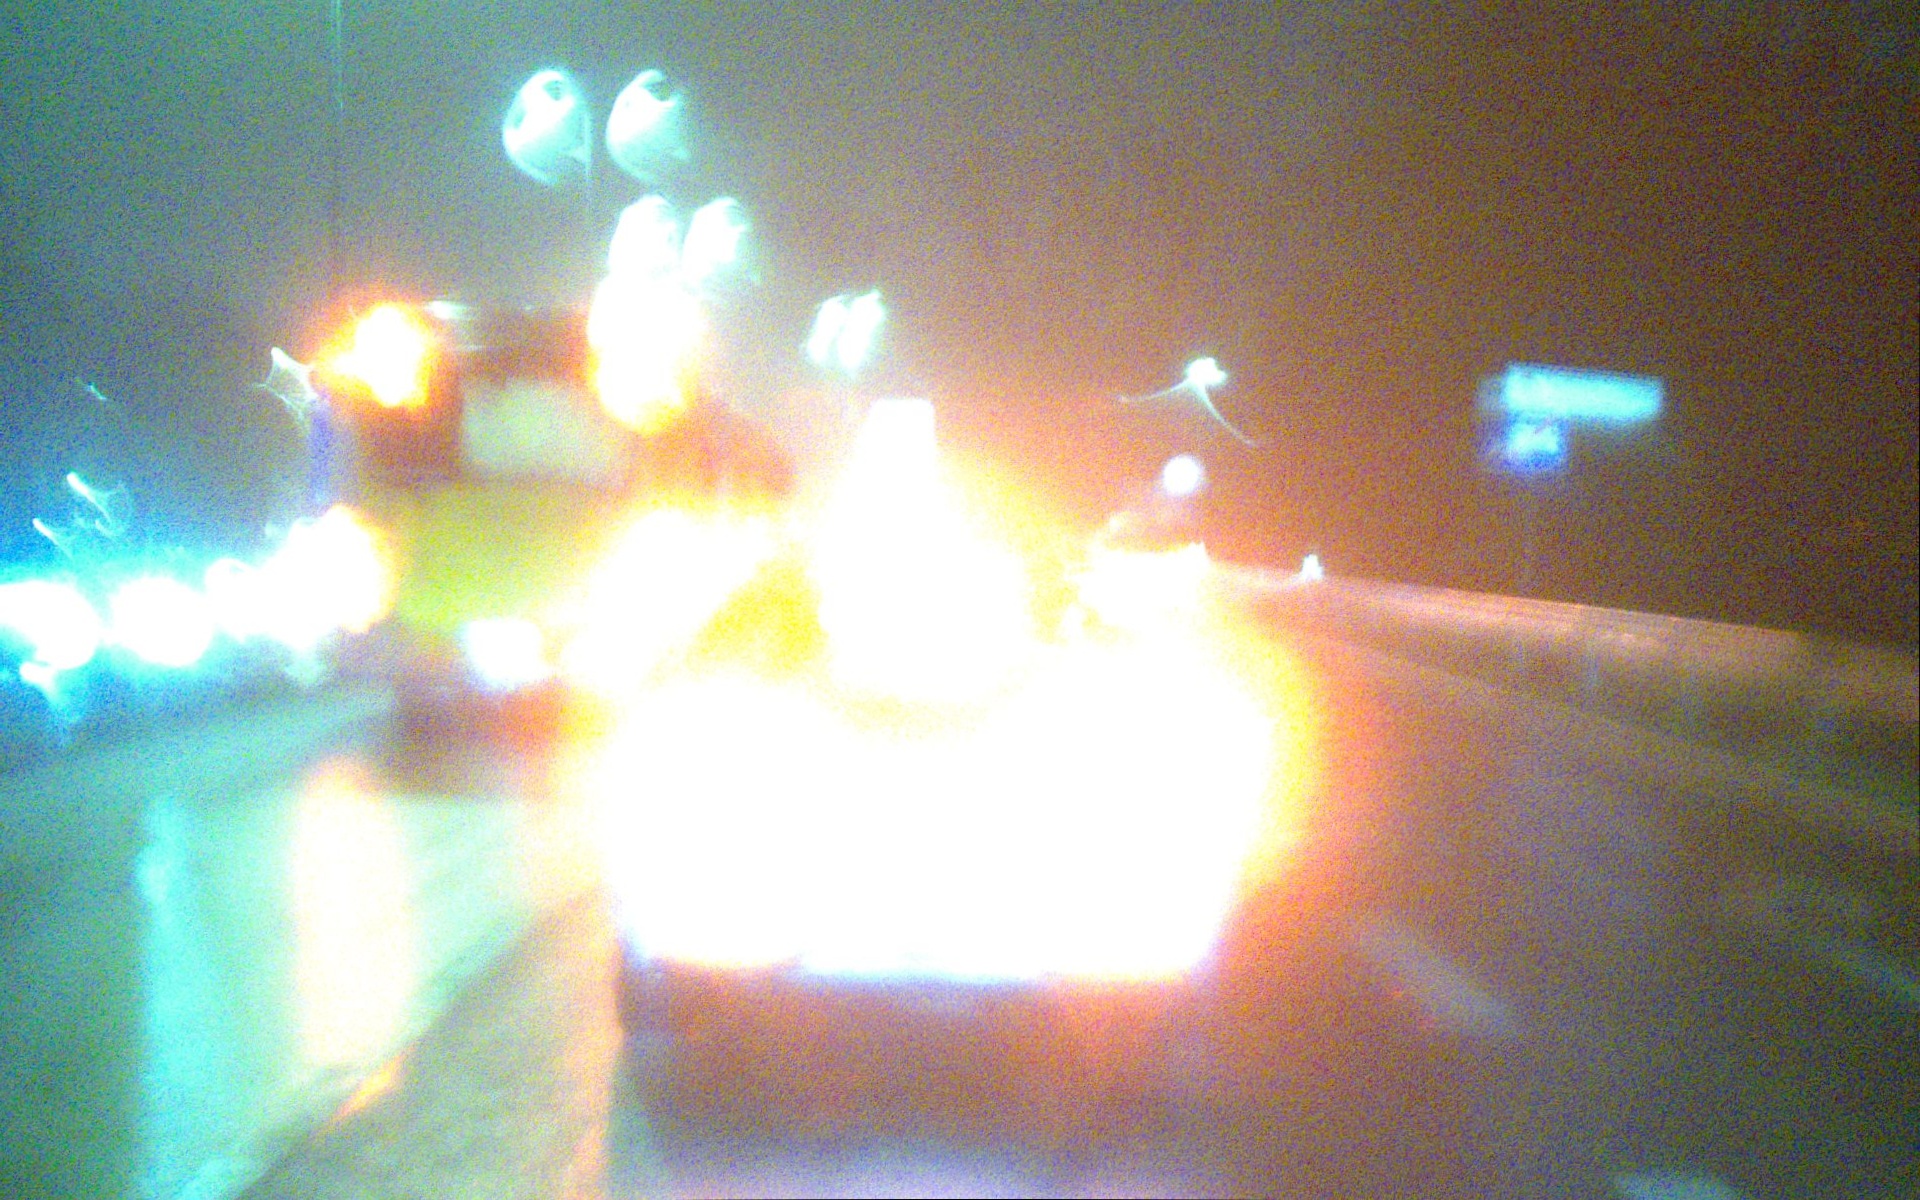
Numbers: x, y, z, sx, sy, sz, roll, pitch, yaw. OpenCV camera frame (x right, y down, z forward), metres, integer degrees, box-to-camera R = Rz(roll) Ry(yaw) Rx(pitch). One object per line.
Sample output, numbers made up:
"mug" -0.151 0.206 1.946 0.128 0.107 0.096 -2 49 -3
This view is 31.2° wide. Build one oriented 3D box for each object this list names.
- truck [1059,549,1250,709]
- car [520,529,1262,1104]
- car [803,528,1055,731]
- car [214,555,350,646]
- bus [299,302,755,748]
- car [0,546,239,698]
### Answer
"truck" 3.474 0.490 60.180 3.070 2.520 7.165 2 0 4
"car" -0.120 0.549 10.931 1.944 1.486 3.716 1 1 2
"car" -0.222 0.195 26.979 1.822 1.456 3.716 1 1 0
"car" -14.406 0.019 73.240 1.993 1.803 4.200 2 0 0
"bus" -3.387 -0.643 29.311 2.743 3.112 9.202 2 1 -1
"car" -10.726 0.267 43.759 2.165 1.768 4.705 2 0 -2
